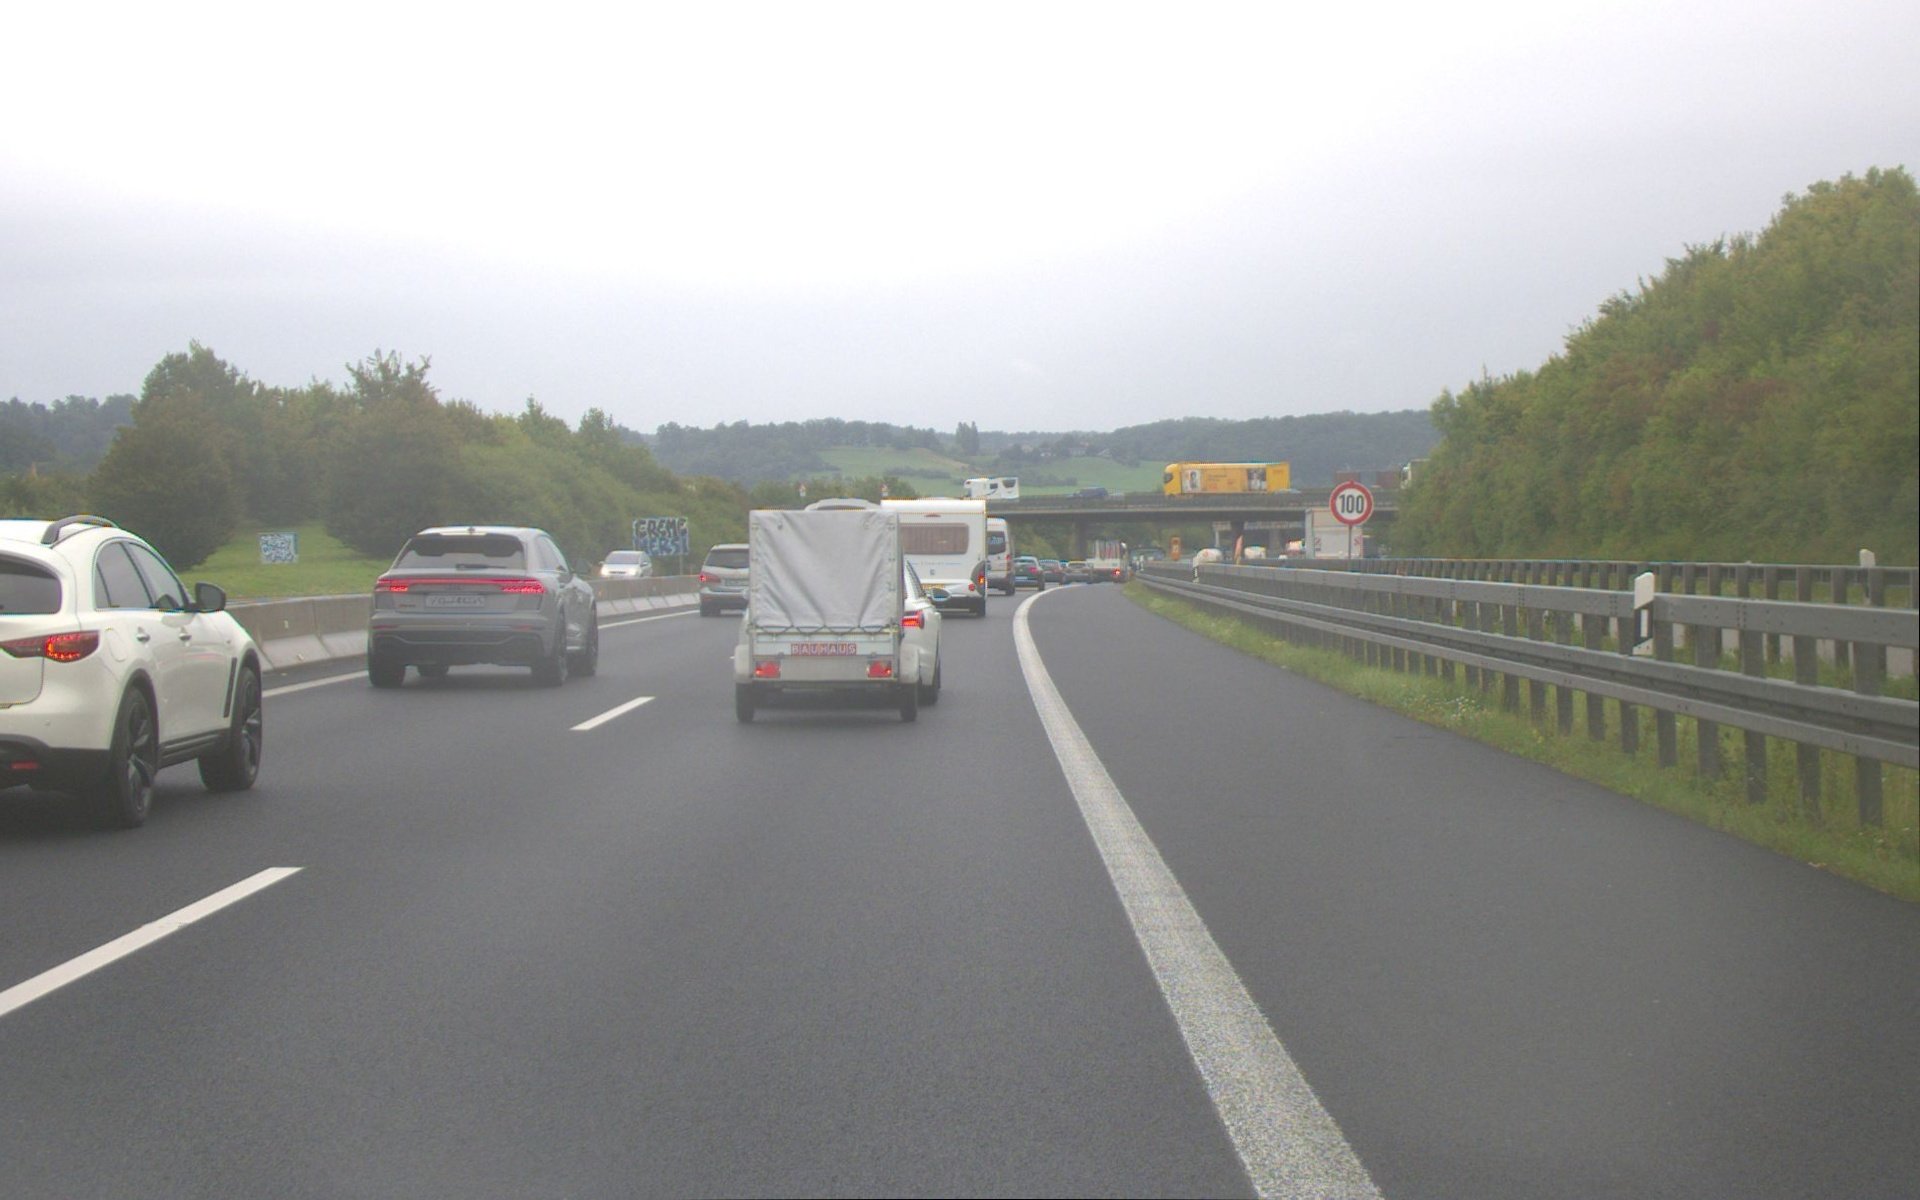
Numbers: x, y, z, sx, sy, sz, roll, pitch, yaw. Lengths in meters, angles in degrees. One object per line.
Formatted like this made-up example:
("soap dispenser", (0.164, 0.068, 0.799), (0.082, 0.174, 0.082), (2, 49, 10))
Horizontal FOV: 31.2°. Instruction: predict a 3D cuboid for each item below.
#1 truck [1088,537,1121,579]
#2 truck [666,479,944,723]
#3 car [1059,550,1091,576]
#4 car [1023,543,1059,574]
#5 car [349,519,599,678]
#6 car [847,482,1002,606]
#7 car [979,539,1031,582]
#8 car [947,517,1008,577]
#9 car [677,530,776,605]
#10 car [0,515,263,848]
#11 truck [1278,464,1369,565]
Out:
("truck", (10.817, -3.142, 256.764), (2.278, 3.071, 7.245), (1, 1, 4))
("truck", (-1.278, -0.060, 31.619), (2.019, 1.979, 7.213), (0, 1, 2))
("car", (7.805, -2.521, 232.617), (1.994, 1.744, 4.000), (1, 1, 4))
("car", (4.654, -2.395, 197.056), (1.994, 1.744, 4.000), (1, 1, 3))
("car", (-5.235, -0.051, 37.582), (2.174, 1.626, 4.501), (0, 1, -1))
("car", (-0.717, -1.254, 76.073), (3.017, 2.607, 6.074), (0, 1, 3))
("car", (1.869, -1.655, 142.737), (1.993, 1.744, 4.000), (1, 1, -1))
("car", (0.586, -1.825, 119.673), (1.993, 2.029, 4.152), (1, 1, -1))
("car", (-5.189, -0.747, 76.781), (1.900, 1.607, 4.017), (0, 1, 0))
("car", (-5.283, 0.372, 19.128), (1.976, 1.633, 4.501), (0, 1, -1))
("truck", (18.865, -4.409, 179.111), (4.094, 5.086, 10.463), (0, 1, 3))
